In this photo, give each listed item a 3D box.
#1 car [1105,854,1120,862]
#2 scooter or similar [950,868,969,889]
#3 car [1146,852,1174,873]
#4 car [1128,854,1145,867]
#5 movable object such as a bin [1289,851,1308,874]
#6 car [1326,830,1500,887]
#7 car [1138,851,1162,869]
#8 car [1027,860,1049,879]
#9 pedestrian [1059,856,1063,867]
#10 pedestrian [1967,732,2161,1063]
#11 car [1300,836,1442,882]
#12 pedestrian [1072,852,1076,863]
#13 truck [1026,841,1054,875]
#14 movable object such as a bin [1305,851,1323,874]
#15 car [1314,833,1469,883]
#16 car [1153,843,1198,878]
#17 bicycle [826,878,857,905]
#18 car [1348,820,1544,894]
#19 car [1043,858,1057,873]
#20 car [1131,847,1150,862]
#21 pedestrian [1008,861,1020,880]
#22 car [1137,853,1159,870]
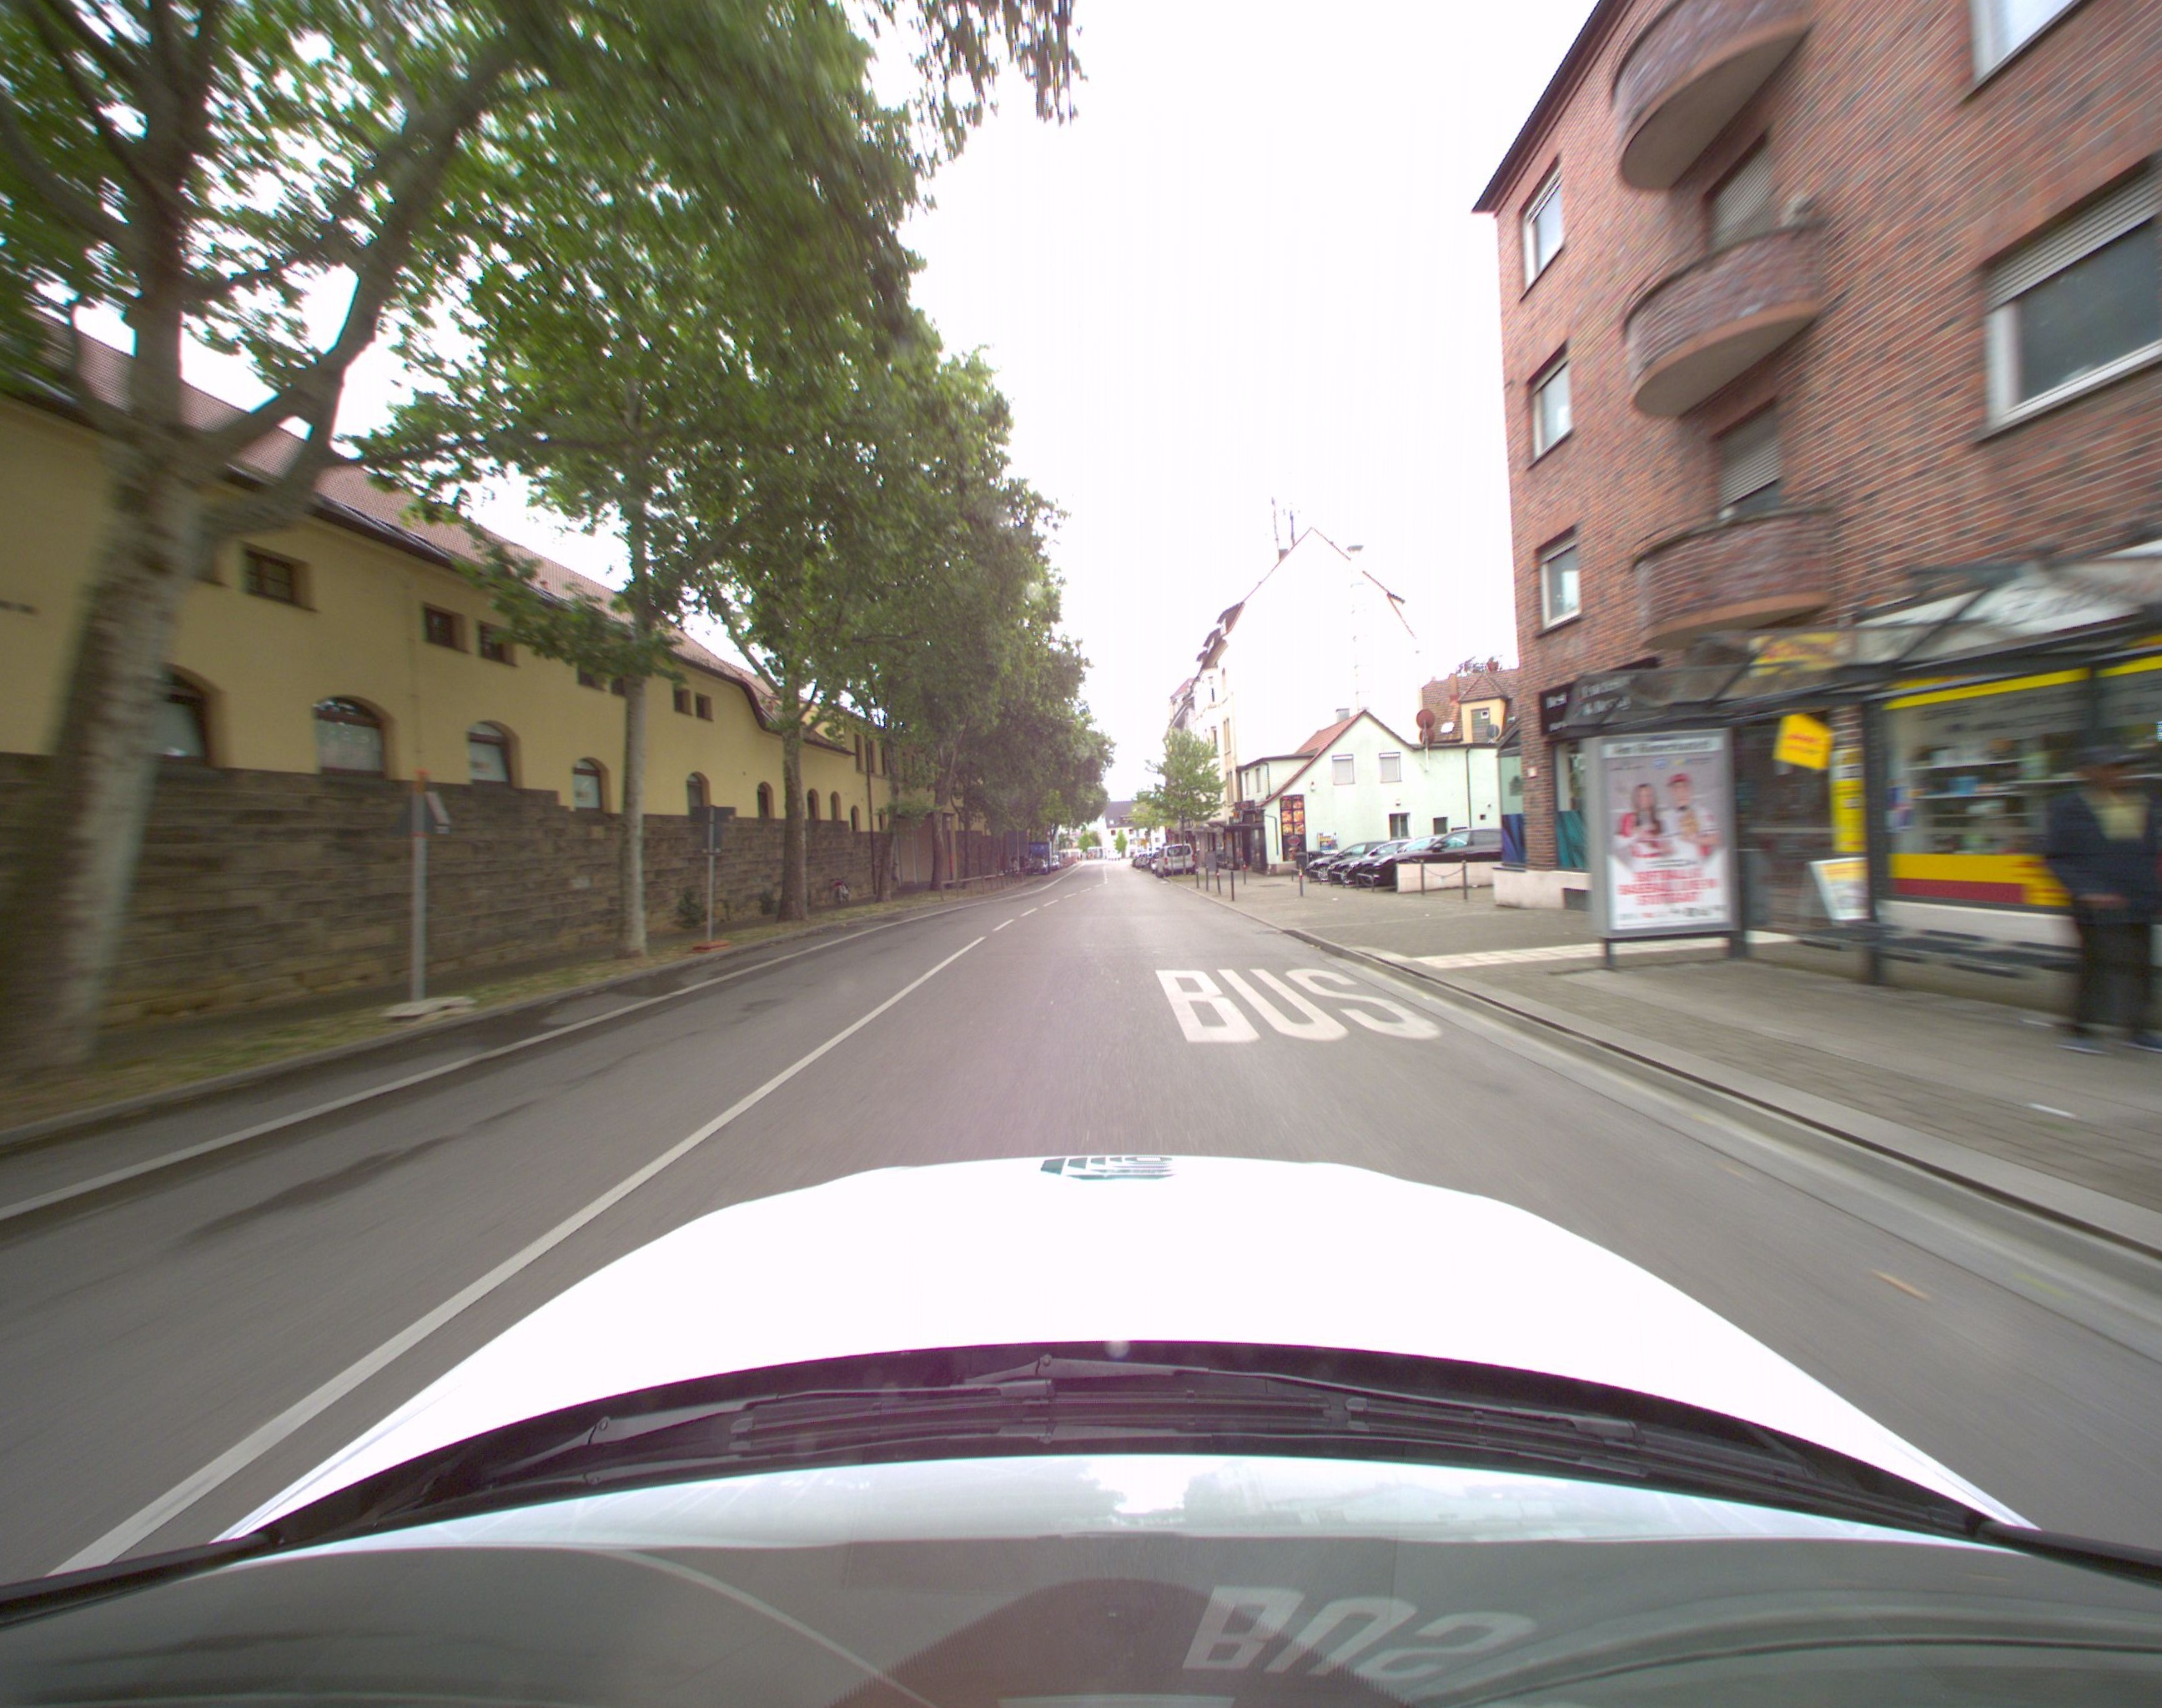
[{"bbox_3d":[6.330,0.778,164.425,1.849,1.489,3.898,-3,0,18],"label":"car"},{"bbox_3d":[-6.998,1.413,46.984,1.028,1.184,0.490,-3,0,-8],"label":"scooter or similar"},{"bbox_3d":[6.059,0.642,63.005,1.664,1.547,3.754,-3,0,-1],"label":"car"},{"bbox_3d":[7.046,0.781,103.429,1.664,1.547,3.754,-3,0,-1],"label":"car"},{"bbox_3d":[10.501,0.409,39.349,0.695,1.041,0.645,-3,0,3],"label":"movable object such as a bin"},{"bbox_3d":[10.618,0.169,26.127,4.855,1.540,2.013,-3,0,30],"label":"car"},{"bbox_3d":[6.175,0.525,73.213,1.664,1.547,3.754,-3,0,-1],"label":"car"},{"bbox_3d":[-4.007,1.433,76.511,1.829,1.578,3.754,-3,0,-1],"label":"car"},{"bbox_3d":[-3.831,1.377,155.843,0.631,1.994,0.785,-3,0,3],"label":"pedestrian"},{"bbox_3d":[5.820,0.216,4.628,0.666,1.727,0.765,-3,0,7],"label":"pedestrian"},{"bbox_3d":[11.165,0.202,31.411,4.856,1.469,1.941,-3,0,28],"label":"car"},{"bbox_3d":[-1.289,0.694,149.206,0.631,2.013,0.785,-3,0,3],"label":"pedestrian"},{"bbox_3d":[-4.264,0.399,86.020,2.223,3.346,7.450,-3,0,1],"label":"truck"},{"bbox_3d":[11.254,0.408,39.342,0.695,1.041,0.645,-3,0,3],"label":"movable object such as a bin"},{"bbox_3d":[10.926,0.154,28.718,4.857,1.493,1.866,-3,0,26],"label":"car"},{"bbox_3d":[5.707,0.374,49.802,1.988,1.935,4.916,-3,0,-1],"label":"car"},{"bbox_3d":[-10.457,1.624,35.615,0.594,1.091,2.197,-1,0,3],"label":"bicycle"},{"bbox_3d":[10.460,0.098,23.447,4.856,1.673,2.013,-6,-1,29],"label":"car"},{"bbox_3d":[-3.673,1.382,97.454,1.529,1.639,3.716,-3,0,-1],"label":"car"},{"bbox_3d":[6.630,0.043,90.501,1.664,1.547,3.754,-3,0,-1],"label":"car"},{"bbox_3d":[-5.382,1.320,65.549,0.676,1.536,0.605,-3,0,-28],"label":"pedestrian"},{"bbox_3d":[6.520,0.718,79.702,1.664,1.547,3.754,-3,0,-1],"label":"car"}]
